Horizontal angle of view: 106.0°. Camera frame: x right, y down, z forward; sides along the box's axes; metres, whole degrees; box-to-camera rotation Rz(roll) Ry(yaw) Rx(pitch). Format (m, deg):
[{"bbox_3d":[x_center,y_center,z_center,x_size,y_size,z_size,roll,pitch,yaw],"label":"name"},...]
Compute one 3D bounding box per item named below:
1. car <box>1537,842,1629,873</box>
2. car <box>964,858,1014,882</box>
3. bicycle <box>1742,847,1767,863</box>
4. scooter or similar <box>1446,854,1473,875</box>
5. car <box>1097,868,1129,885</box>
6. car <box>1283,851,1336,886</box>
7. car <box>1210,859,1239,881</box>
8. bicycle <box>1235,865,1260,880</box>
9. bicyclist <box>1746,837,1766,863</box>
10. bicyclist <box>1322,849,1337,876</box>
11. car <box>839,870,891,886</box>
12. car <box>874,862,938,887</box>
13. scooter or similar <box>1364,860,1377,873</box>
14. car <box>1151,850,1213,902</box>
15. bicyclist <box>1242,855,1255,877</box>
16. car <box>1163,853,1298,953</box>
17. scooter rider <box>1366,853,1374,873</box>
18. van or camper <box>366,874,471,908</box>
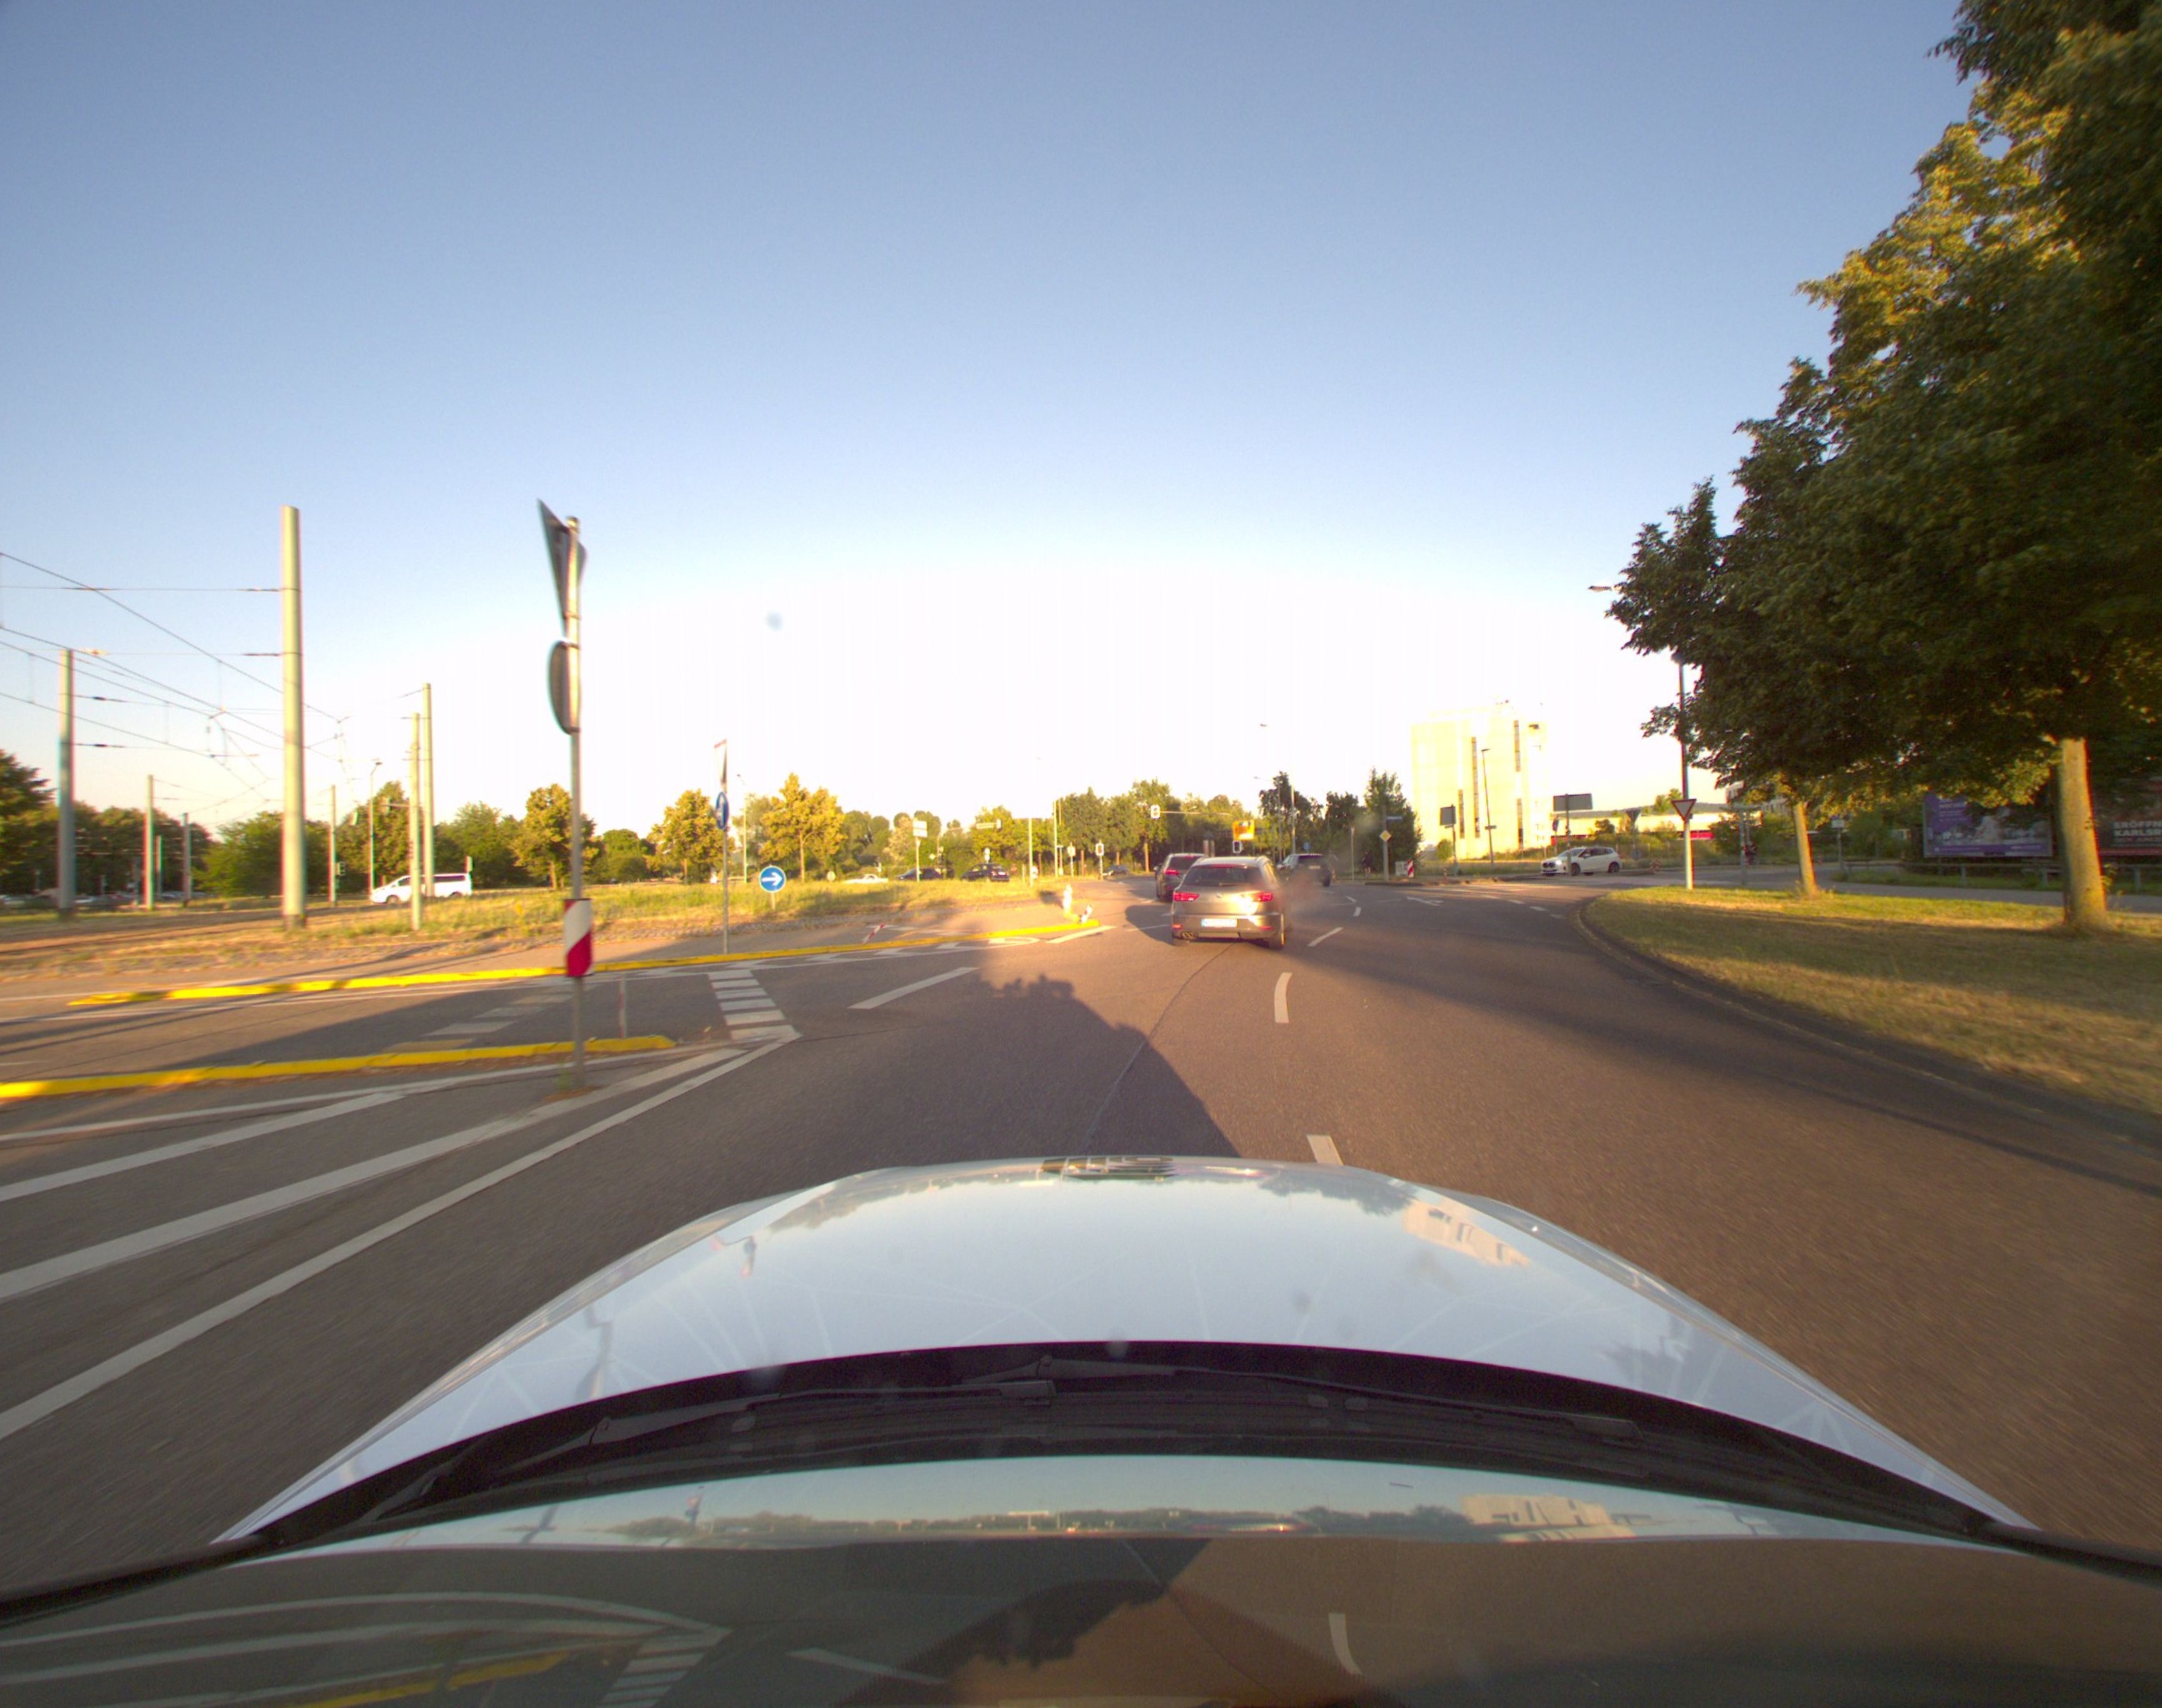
[{"bbox_3d":[27.236,0.196,44.201,4.087,1.558,1.882,-1,-2,-14],"label":"car"},{"bbox_3d":[-5.961,1.002,52.468,1.756,1.446,4.096,-1,-1,-29],"label":"car"},{"bbox_3d":[46.311,0.067,56.005,0.280,1.089,1.362,-1,-1,-23],"label":"bicycle"},{"bbox_3d":[21.375,0.611,45.967,0.443,1.163,1.371,-1,-1,-27],"label":"scooter or similar"},{"bbox_3d":[3.446,2.404,88.046,1.730,1.748,4.624,-2,0,25],"label":"car"},{"bbox_3d":[10.838,0.658,38.909,1.803,1.525,4.142,-1,0,7],"label":"car"},{"bbox_3d":[10.141,1.110,57.617,1.737,1.489,4.142,-1,0,6],"label":"car"},{"bbox_3d":[13.507,1.520,66.047,1.904,1.085,0.459,-5,-2,25],"label":"bicycle"},{"bbox_3d":[46.376,-0.259,55.959,0.537,1.744,0.837,-1,-1,-24],"label":"bicyclist"},{"bbox_3d":[17.918,0.626,58.708,0.899,1.898,0.645,-4,-2,25],"label":"bicyclist"},{"bbox_3d":[-17.723,1.981,66.953,3.798,1.255,1.561,1,-1,-38],"label":"car"},{"bbox_3d":[-13.790,1.592,64.199,4.614,1.748,1.733,-1,-1,-33],"label":"car"},{"bbox_3d":[19.702,0.859,55.410,0.247,0.914,1.032,-1,-1,-19],"label":"scooter or similar"},{"bbox_3d":[3.203,0.638,25.683,1.736,1.466,4.143,-1,0,8],"label":"car"},{"bbox_3d":[13.567,0.979,66.014,0.760,1.702,0.645,-4,-2,25],"label":"bicyclist"},{"bbox_3d":[2.694,0.720,13.903,1.732,1.424,4.153,-1,0,17],"label":"car"},{"bbox_3d":[19.666,0.602,55.397,0.265,1.339,0.404,-1,-1,-20],"label":"scooter rider"},{"bbox_3d":[-44.764,2.454,55.117,1.891,2.010,5.334,-2,-1,43],"label":"van or camper"}]
